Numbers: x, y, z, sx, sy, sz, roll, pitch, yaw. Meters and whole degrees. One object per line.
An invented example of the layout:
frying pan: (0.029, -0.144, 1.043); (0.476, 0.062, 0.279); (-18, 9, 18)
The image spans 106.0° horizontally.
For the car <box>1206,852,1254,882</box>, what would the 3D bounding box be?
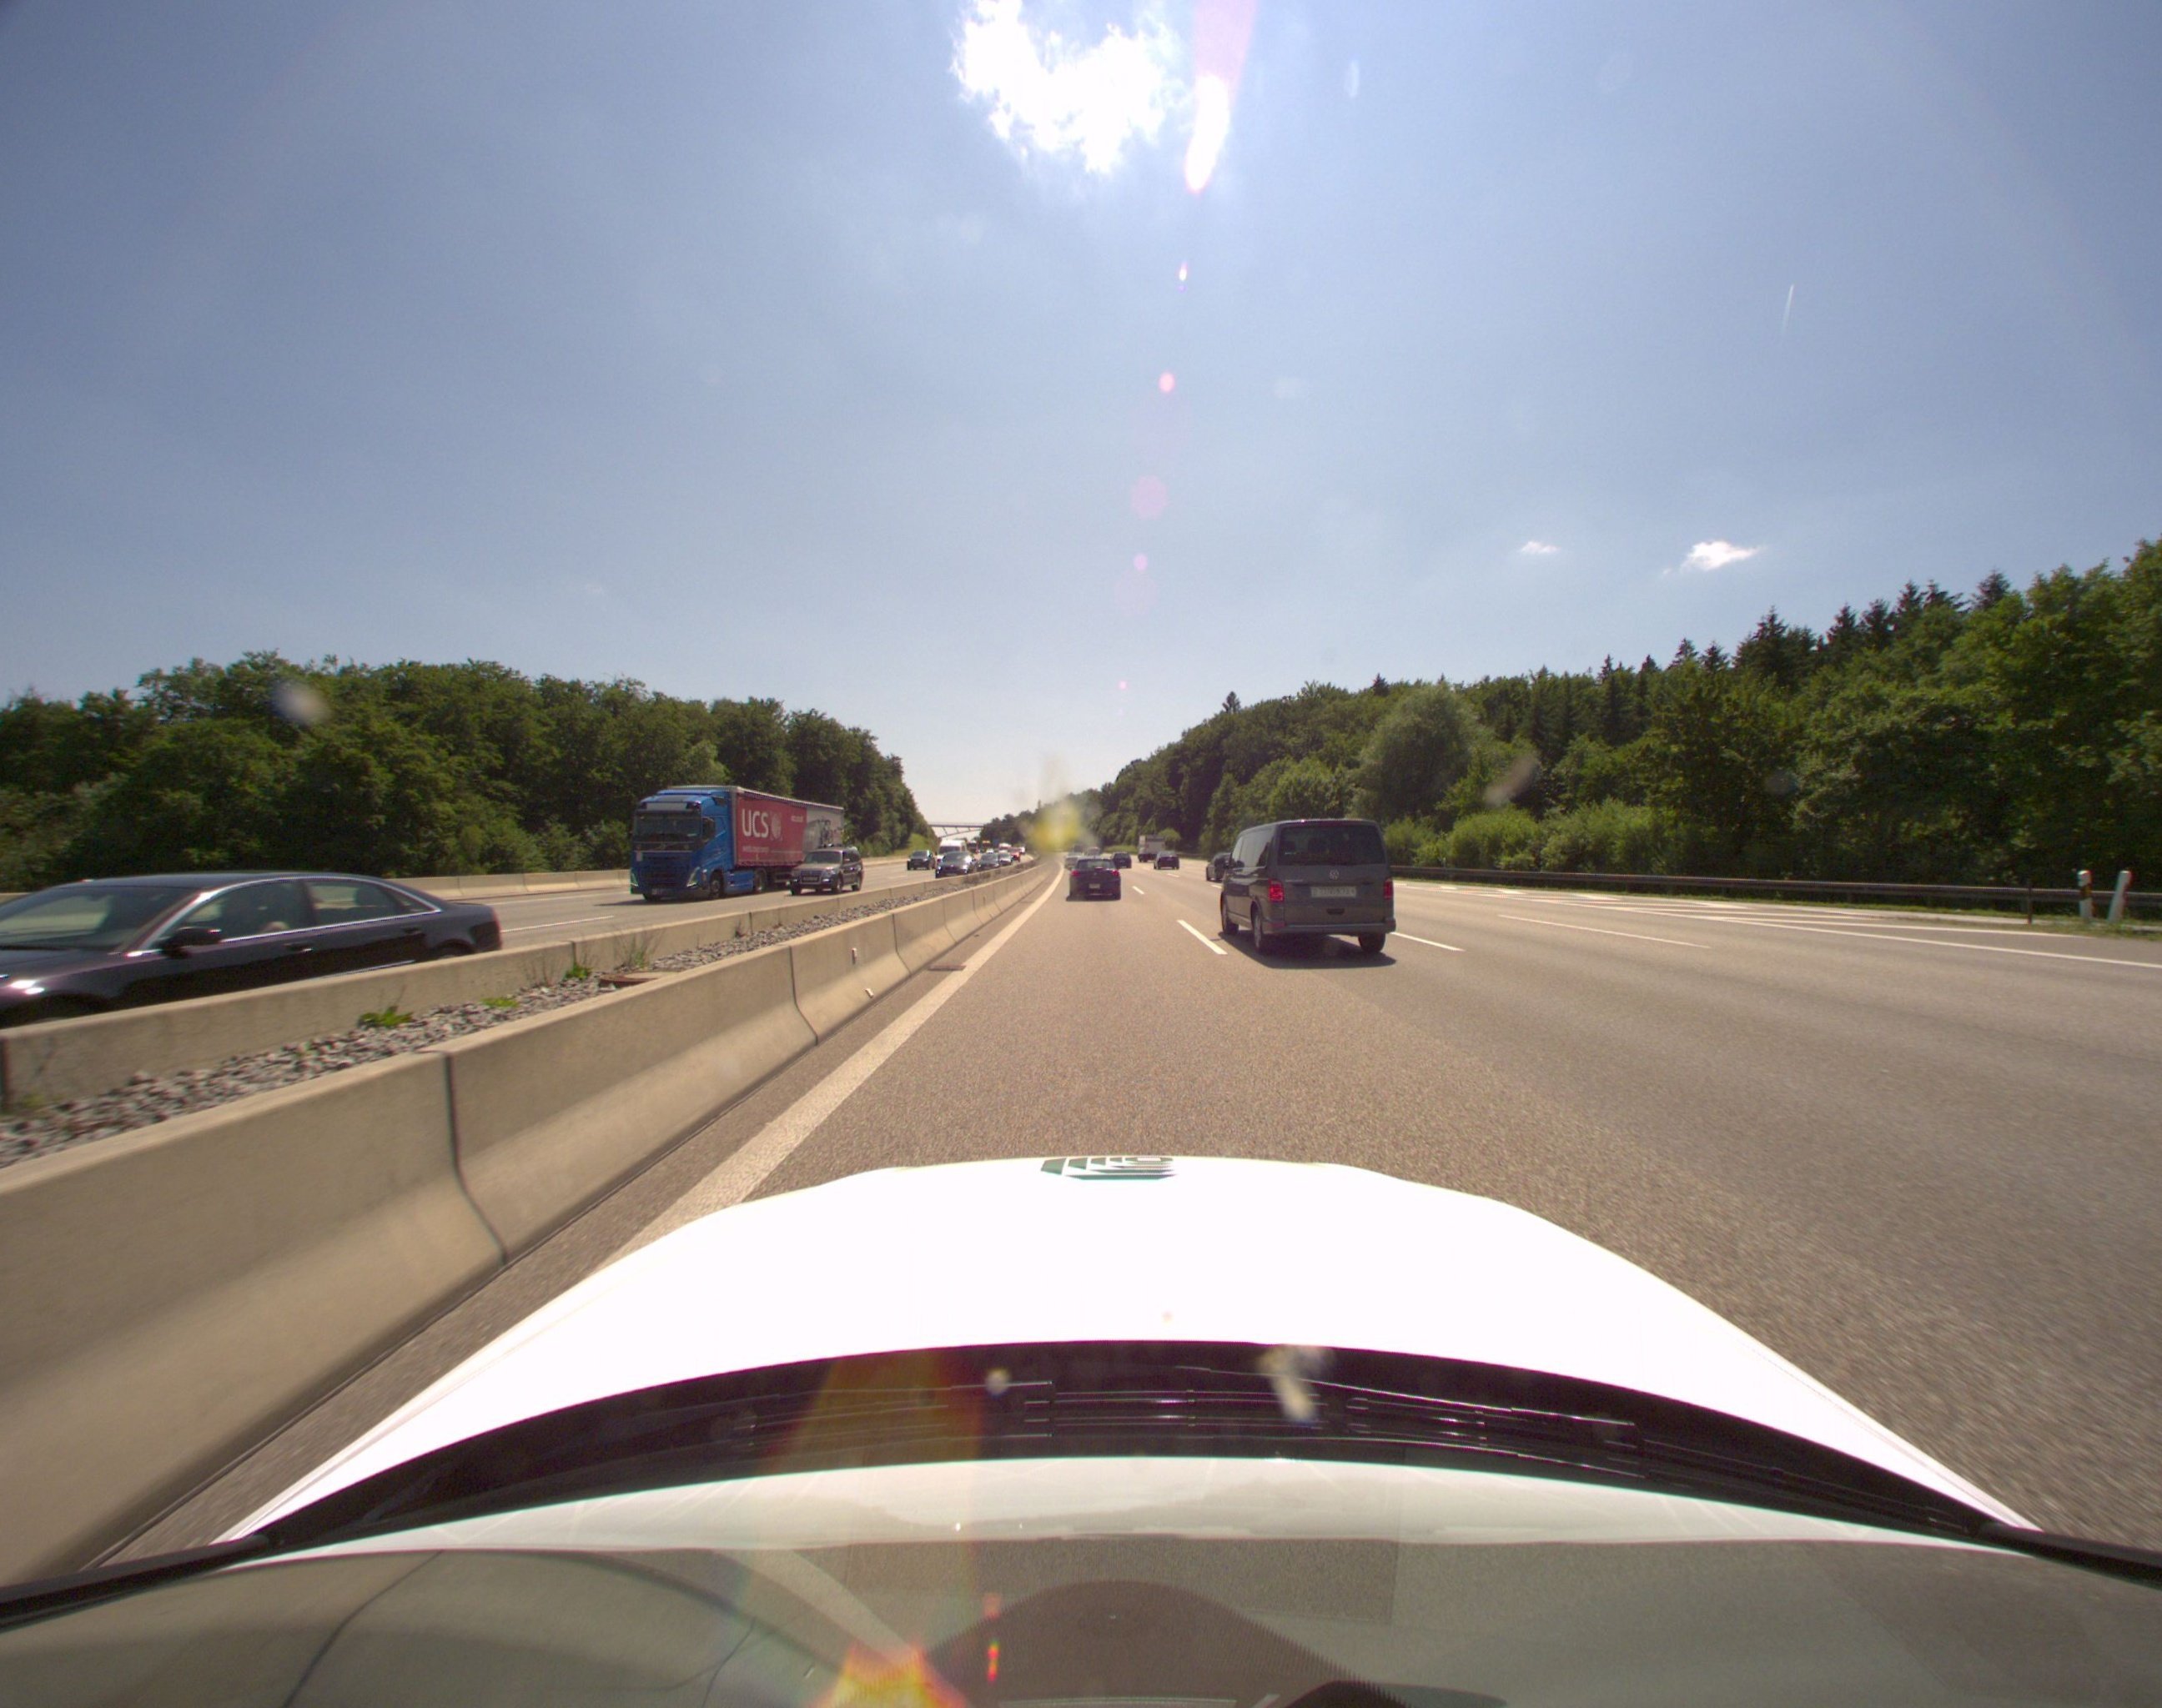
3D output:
car: (7.350, 0.595, 40.406); (1.696, 1.396, 4.154); (-1, 0, 1)

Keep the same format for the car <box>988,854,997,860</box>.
car: (-21.767, 0.638, 199.853); (1.758, 1.482, 4.491); (1, 0, -2)

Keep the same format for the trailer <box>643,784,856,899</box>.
trailer: (-14.397, -0.425, 37.730); (3.823, 4.280, 14.474); (0, 0, 0)

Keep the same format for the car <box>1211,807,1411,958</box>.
car: (3.537, 0.395, 13.634); (1.956, 2.033, 5.083); (-1, 0, 1)

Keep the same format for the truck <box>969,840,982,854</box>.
truck: (-28.034, -1.879, 215.894); (2.604, 3.465, 9.871); (1, 0, -3)

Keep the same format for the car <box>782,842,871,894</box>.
car: (-10.215, 0.530, 33.134); (1.986, 1.967, 4.785); (-1, 0, 2)

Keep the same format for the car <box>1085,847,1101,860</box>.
car: (1.751, -0.060, 118.023); (2.097, 1.744, 4.686); (0, 0, -1)

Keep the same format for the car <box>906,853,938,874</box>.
car: (-14.250, 0.842, 73.138); (1.988, 1.762, 5.065); (-1, 0, -2)

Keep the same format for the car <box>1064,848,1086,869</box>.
car: (-0.562, 0.441, 77.548); (2.005, 1.846, 4.000); (0, -3, 1)

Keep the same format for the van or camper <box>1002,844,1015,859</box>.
van or camper: (-13.548, -0.471, 152.056); (1.988, 2.799, 7.408); (-1, 0, -2)

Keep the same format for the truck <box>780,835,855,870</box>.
truck: (-18.209, -0.038, 56.955); (2.039, 2.254, 8.828); (0, -1, 2)

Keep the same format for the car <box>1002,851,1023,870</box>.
car: (-6.753, 0.666, 80.604); (1.683, 1.725, 3.998); (0, -2, 0)

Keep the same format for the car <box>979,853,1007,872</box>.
car: (-6.647, 0.624, 61.832); (1.635, 1.350, 3.999); (1, 0, 0)

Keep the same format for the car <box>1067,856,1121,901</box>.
car: (0.443, 0.780, 28.121); (1.702, 1.433, 4.000); (0, 0, 1)

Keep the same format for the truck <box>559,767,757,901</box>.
truck: (-14.447, -0.597, 28.502); (3.774, 4.177, 5.877); (0, -1, 0)

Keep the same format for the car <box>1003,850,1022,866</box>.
car: (-9.003, 0.490, 106.931); (2.230, 2.014, 4.227); (-1, 0, -1)

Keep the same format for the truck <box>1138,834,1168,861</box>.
truck: (8.666, -0.786, 98.477); (2.976, 3.166, 7.574); (0, 0, 0)

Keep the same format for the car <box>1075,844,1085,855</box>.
car: (-0.122, -1.045, 190.748); (2.258, 2.371, 4.701); (-1, -1, 0)

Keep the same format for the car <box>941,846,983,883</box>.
car: (-6.523, 0.604, 45.115); (1.765, 1.944, 5.082); (1, -1, -2)

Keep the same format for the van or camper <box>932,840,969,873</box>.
van or camper: (-10.662, 0.223, 66.811); (2.094, 2.566, 6.396); (-1, 0, -1)

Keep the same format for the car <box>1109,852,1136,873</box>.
car: (3.641, 0.778, 71.862); (1.988, 1.728, 4.146); (-1, -1, -2)

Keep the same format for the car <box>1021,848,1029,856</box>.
car: (-12.878, -0.519, 188.008); (1.815, 1.871, 4.582); (-1, 0, -4)

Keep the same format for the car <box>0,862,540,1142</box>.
car: (-6.957, 0.858, 6.343); (1.949, 1.518, 5.134); (-1, 0, 1)

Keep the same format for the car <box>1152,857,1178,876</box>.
car: (6.827, 0.967, 66.208); (1.660, 1.408, 4.904); (0, 1, 1)

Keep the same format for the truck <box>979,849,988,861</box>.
truck: (-30.414, 0.316, 255.174); (2.526, 3.940, 6.791); (-1, 0, -4)
